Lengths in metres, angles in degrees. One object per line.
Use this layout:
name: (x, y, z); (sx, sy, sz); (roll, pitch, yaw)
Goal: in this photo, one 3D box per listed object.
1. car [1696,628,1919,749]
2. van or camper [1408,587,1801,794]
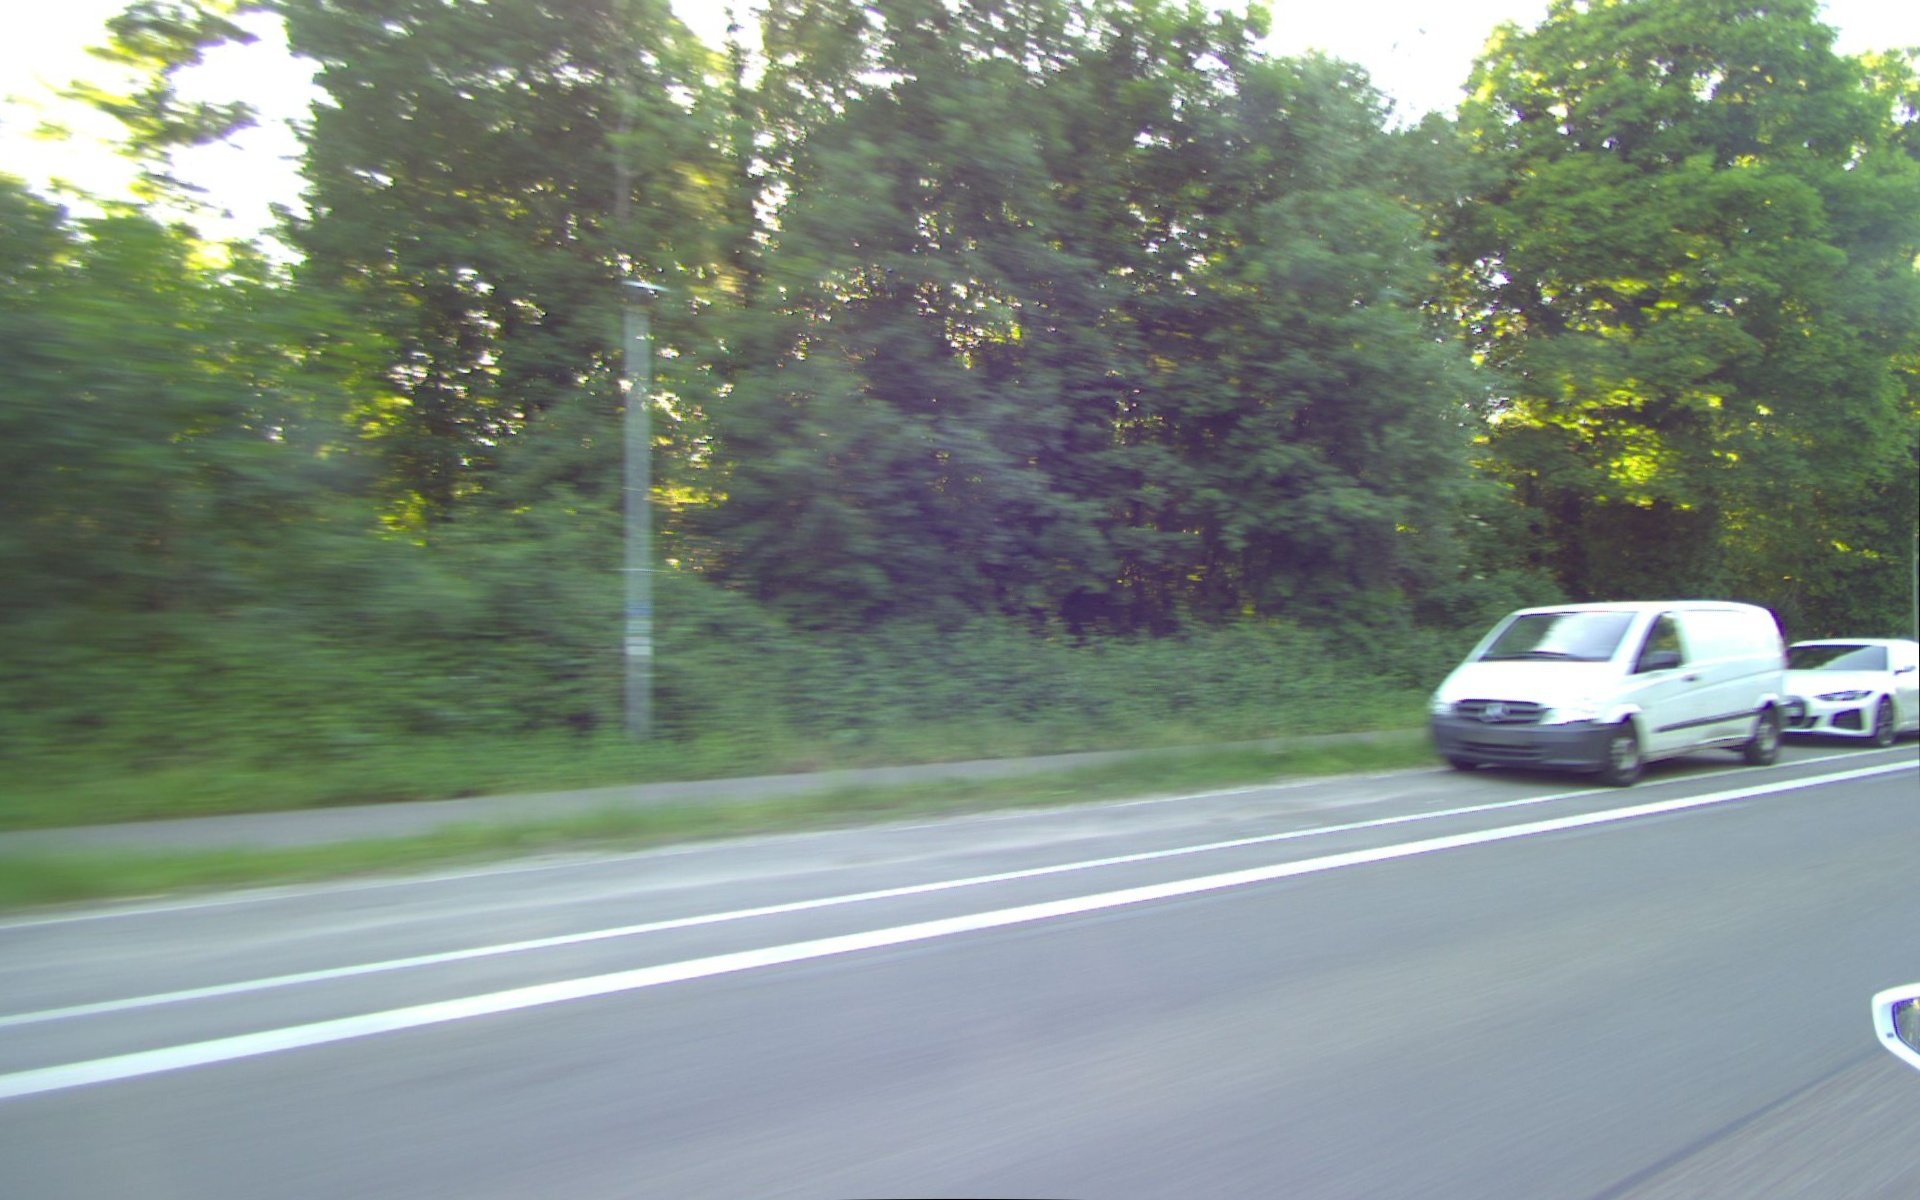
car: (13.002, 1.215, 14.879); (4.472, 1.560, 1.766); (1, -3, -31)
van or camper: (7.429, 0.922, 11.448); (4.800, 1.936, 1.827); (1, -3, -31)
